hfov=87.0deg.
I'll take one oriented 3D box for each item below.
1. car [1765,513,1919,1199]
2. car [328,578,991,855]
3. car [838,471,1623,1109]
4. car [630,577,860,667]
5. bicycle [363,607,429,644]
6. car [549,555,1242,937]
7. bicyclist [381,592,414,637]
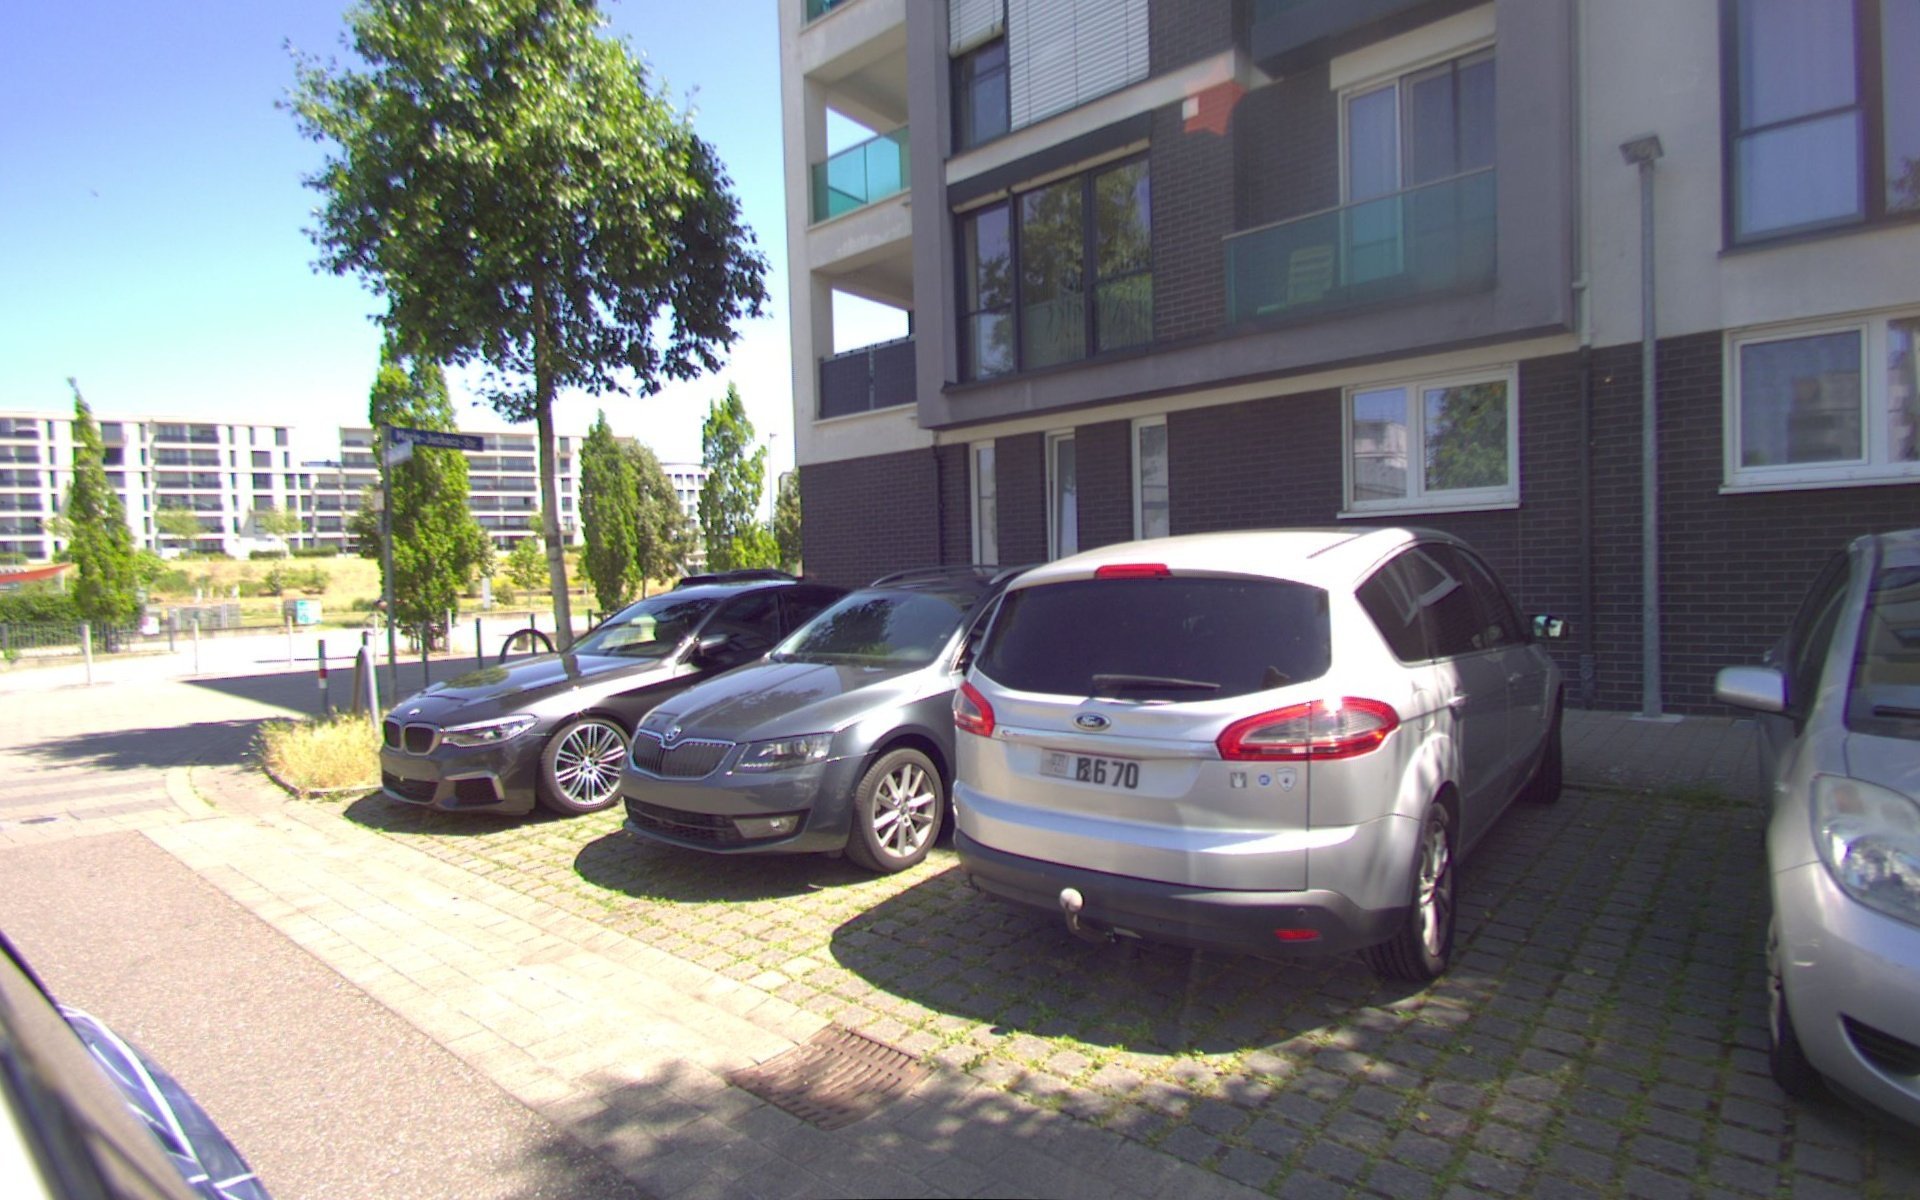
[{"bbox_3d":[3.813,0.464,3.258,1.820,1.542,4.211,-1,2,38],"label":"car"},{"bbox_3d":[-2.039,0.627,8.375,1.926,1.496,5.049,0,2,39],"label":"car"},{"bbox_3d":[1.896,0.421,5.198,2.040,1.644,4.980,-2,1,39],"label":"car"},{"bbox_3d":[-4.109,0.379,19.993,1.775,1.531,4.344,-3,0,35],"label":"car"},{"bbox_3d":[-19.098,0.840,34.267,1.883,1.126,0.801,-3,1,-33],"label":"bicycle"},{"bbox_3d":[0.023,0.543,6.722,1.826,1.459,4.772,0,4,39],"label":"car"},{"bbox_3d":[-19.072,0.472,34.299,0.868,1.466,0.862,-3,1,-33],"label":"bicyclist"}]
